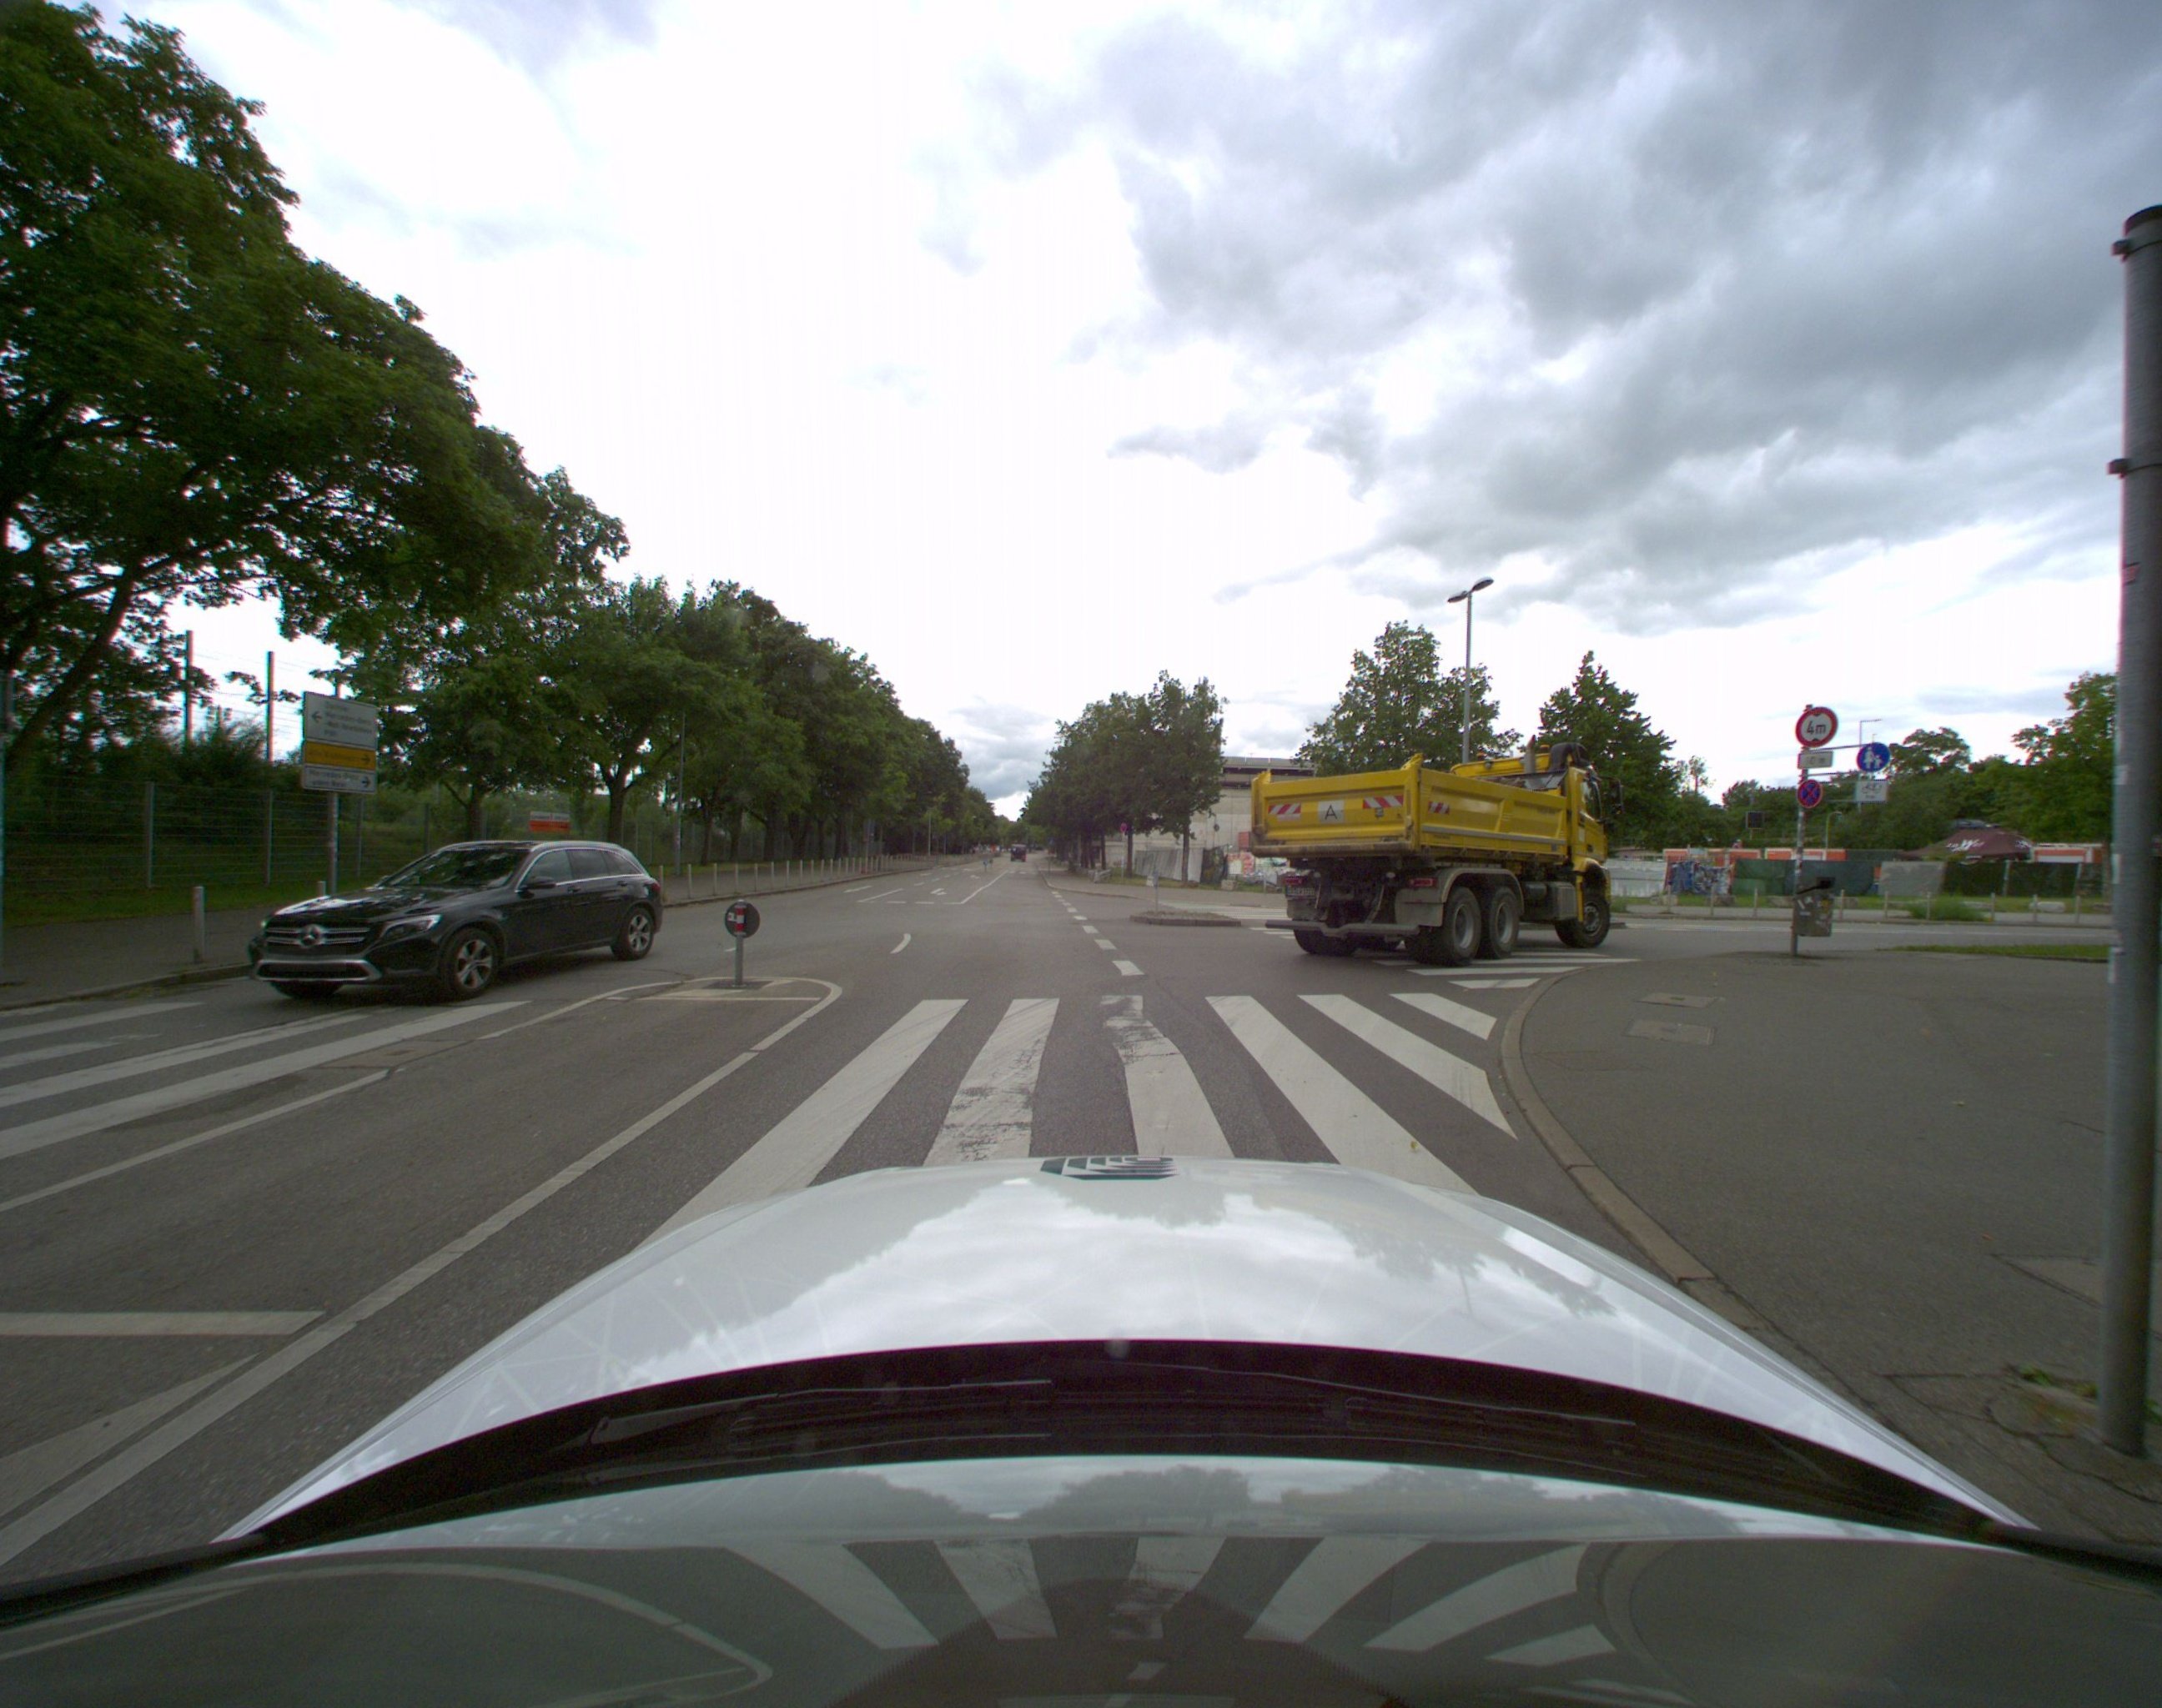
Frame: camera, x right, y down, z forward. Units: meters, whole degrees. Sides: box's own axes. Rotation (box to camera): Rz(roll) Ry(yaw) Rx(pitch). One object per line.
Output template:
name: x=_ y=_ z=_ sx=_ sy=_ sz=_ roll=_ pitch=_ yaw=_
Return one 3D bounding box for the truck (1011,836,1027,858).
truck: x=-10.675 y=-1.114 z=139.843 sx=2.668 sy=3.558 sz=7.910 roll=-1 pitch=0 yaw=-5

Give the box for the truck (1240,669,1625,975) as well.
truck: x=6.187 y=-0.297 z=13.492 sx=7.922 sy=3.699 sz=2.734 roll=1 pitch=-2 yaw=-42

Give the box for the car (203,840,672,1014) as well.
car: x=-7.075 y=0.648 z=9.770 sx=1.832 sy=1.574 sz=4.554 roll=1 pitch=0 yaw=3
